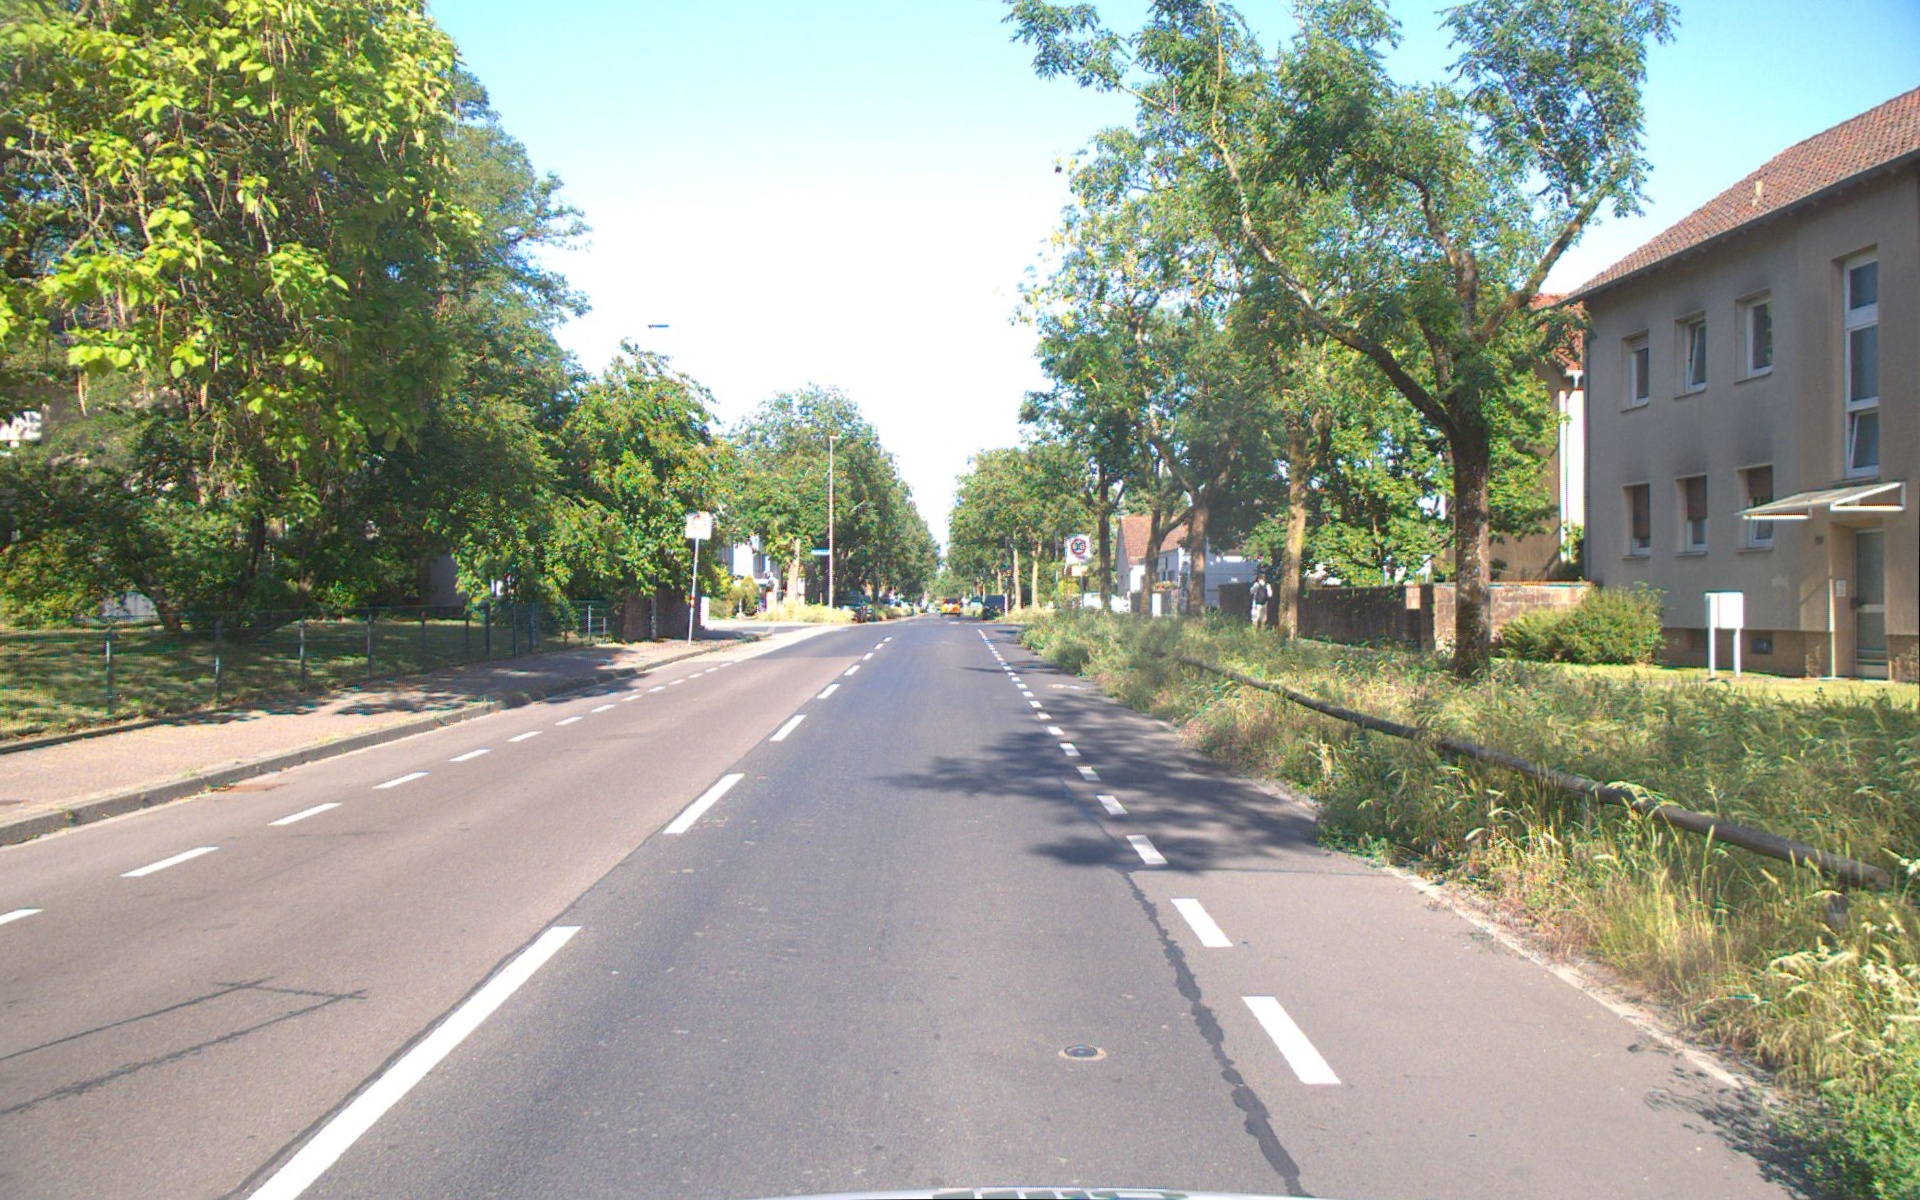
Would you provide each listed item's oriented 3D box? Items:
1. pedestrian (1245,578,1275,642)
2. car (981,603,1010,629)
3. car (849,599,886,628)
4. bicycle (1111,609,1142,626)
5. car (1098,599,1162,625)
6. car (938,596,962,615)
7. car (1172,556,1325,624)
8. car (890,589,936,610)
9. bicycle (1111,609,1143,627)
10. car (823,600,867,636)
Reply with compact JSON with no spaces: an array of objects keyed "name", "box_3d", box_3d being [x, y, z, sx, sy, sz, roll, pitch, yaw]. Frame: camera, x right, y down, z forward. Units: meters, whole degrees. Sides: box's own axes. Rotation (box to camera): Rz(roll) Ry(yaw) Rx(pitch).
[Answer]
[{"name":"pedestrian","box_3d":[8.201,0.267,45.240,0.624,1.735,0.612,-2,1,-2]},{"name":"car","box_3d":[2.459,1.141,115.286,1.815,1.654,4.468,-1,-1,-1]},{"name":"car","box_3d":[-5.560,0.822,99.458,1.899,1.637,4.383,1,-2,0]},{"name":"bicycle","box_3d":[10.589,1.106,104.962,1.884,1.016,0.576,-2,1,-2]},{"name":"car","box_3d":[11.005,0.786,107.183,3.907,1.515,1.901,-2,1,-2]},{"name":"car","box_3d":[-0.890,0.513,144.531,1.850,1.505,3.885,2,-1,-3]},{"name":"car","box_3d":[11.172,-0.372,64.224,5.483,2.583,2.264,0,0,-4]},{"name":"car","box_3d":[-5.594,-0.077,197.288,5.388,2.287,2.516,1,1,-2]},{"name":"bicycle","box_3d":[10.467,1.126,103.970,1.918,1.016,0.576,-2,1,-2]},{"name":"car","box_3d":[-6.082,0.994,87.660,1.913,1.757,4.874,1,-2,0]}]
